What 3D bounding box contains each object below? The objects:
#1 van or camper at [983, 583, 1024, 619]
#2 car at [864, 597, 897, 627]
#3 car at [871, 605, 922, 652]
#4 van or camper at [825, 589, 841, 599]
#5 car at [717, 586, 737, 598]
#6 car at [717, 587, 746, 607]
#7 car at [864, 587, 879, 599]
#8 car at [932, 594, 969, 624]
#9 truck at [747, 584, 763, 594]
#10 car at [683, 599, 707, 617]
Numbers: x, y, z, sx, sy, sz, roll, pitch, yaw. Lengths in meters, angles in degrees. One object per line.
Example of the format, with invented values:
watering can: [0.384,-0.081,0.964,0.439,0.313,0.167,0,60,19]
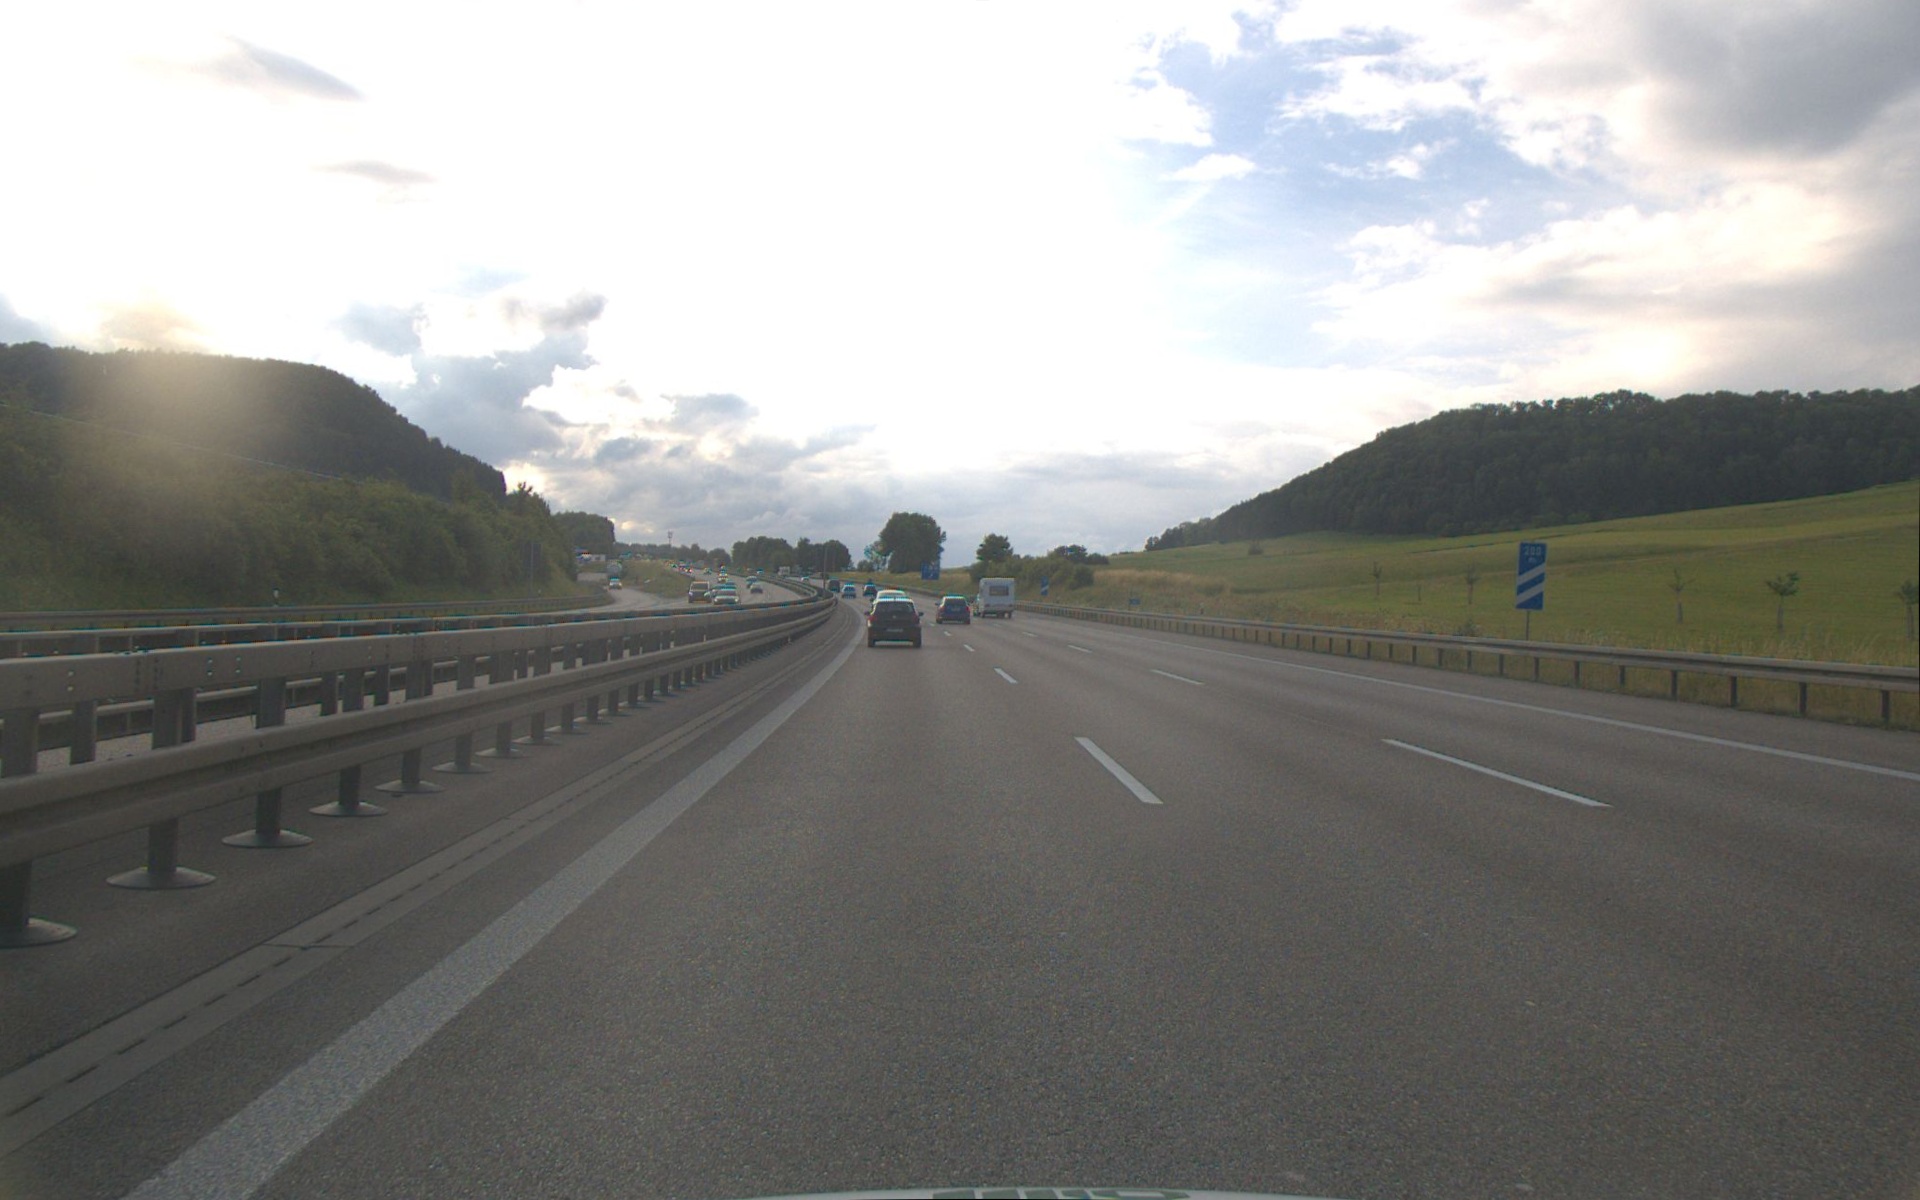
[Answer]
van or camper: [2.809,0.086,108.304,2.496,2.278,5.328,0,0,-1]
car: [-3.844,0.564,79.355,1.534,1.404,3.997,1,0,-4]
car: [-1.987,0.868,51.130,1.507,1.371,3.675,0,0,-3]
van or camper: [-19.061,-0.945,248.122,1.926,1.458,4.000,1,0,1]
car: [-26.461,-0.935,187.745,1.954,1.377,4.352,-1,1,-5]
car: [-17.174,-0.240,124.513,1.955,1.455,4.582,1,0,-5]
car: [-11.933,-0.899,223.063,1.918,1.601,3.999,1,0,-2]
car: [-0.530,0.493,88.976,1.732,1.458,3.997,3,-1,-4]
truck: [-27.901,-1.505,225.463,1.957,1.243,3.991,-1,1,-10]
car: [-24.124,0.695,150.519,1.740,1.624,3.997,1,0,-3]
